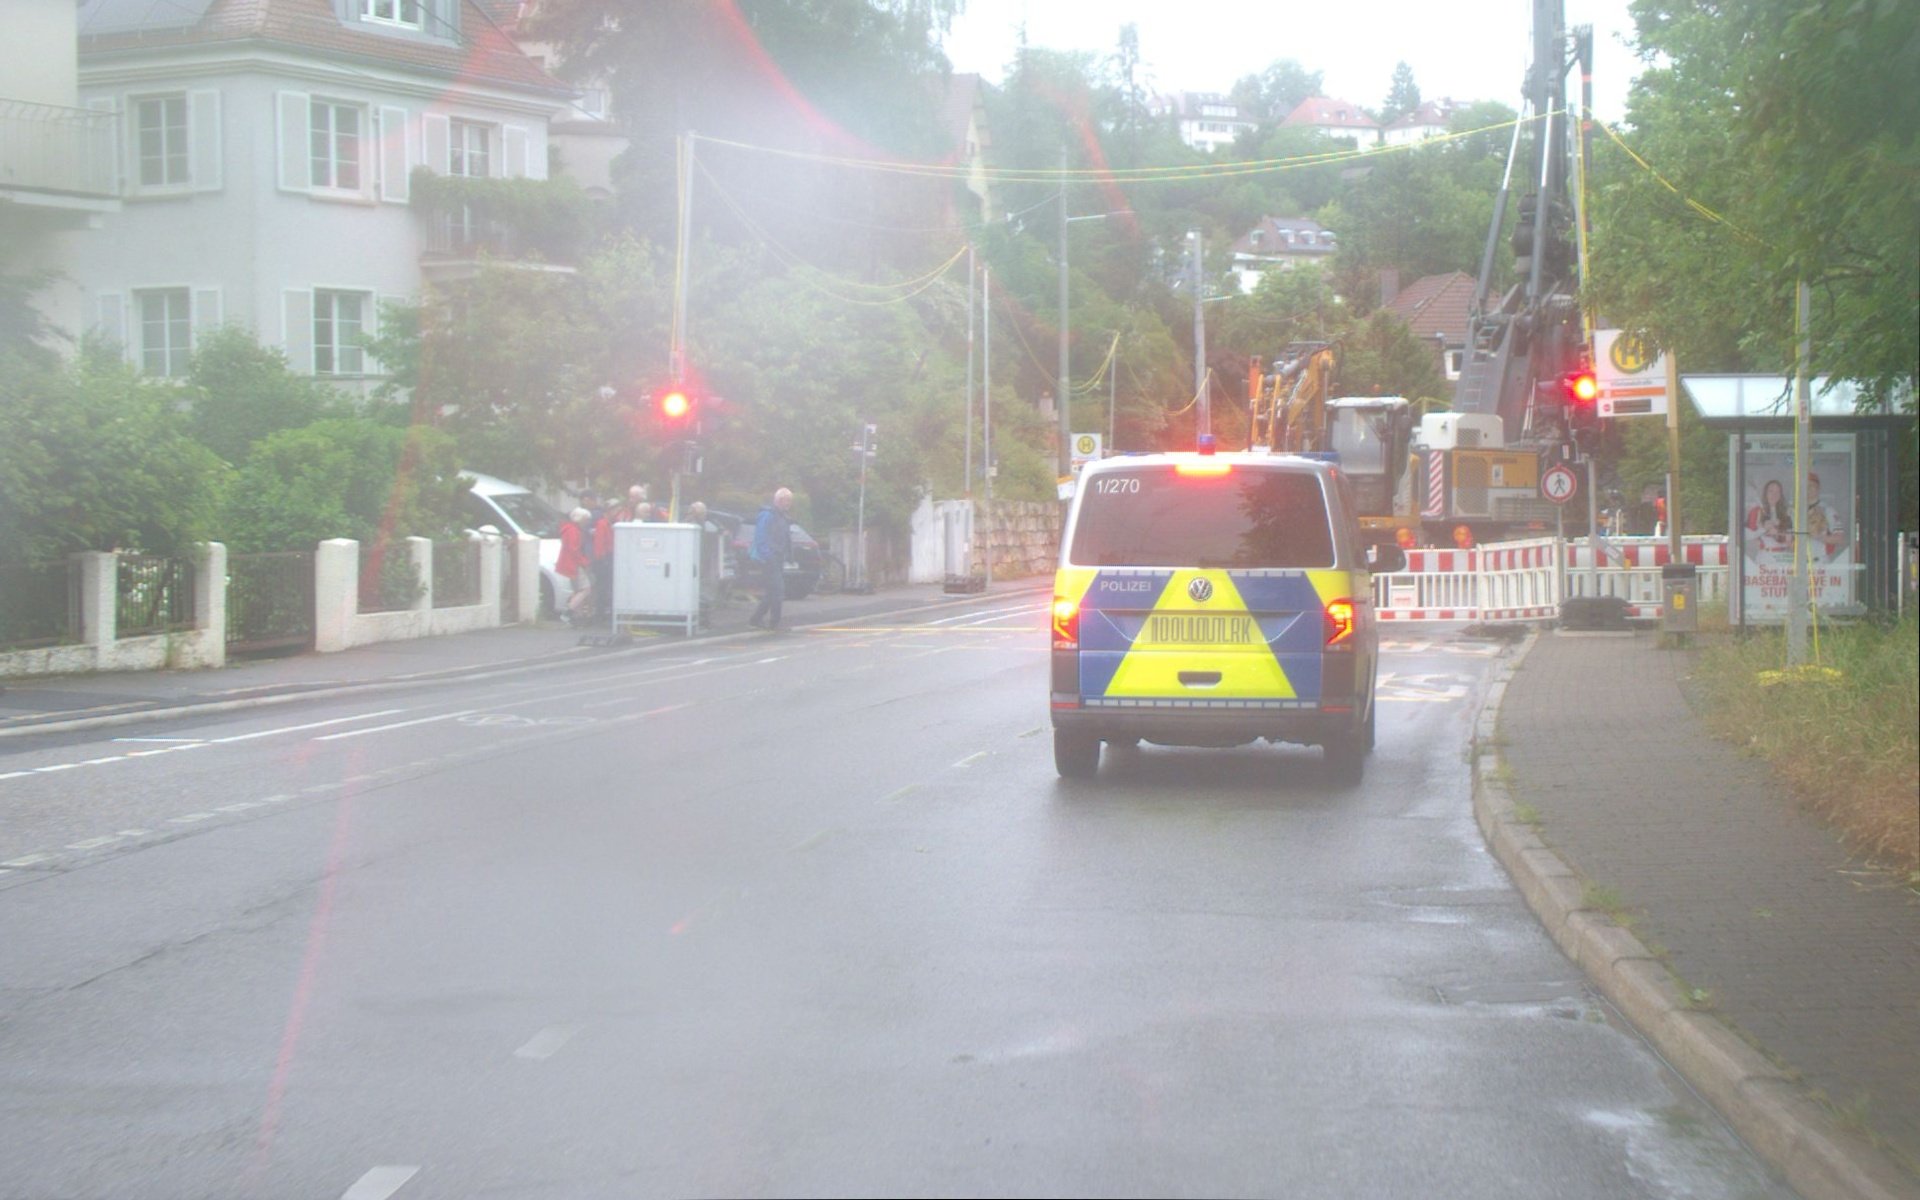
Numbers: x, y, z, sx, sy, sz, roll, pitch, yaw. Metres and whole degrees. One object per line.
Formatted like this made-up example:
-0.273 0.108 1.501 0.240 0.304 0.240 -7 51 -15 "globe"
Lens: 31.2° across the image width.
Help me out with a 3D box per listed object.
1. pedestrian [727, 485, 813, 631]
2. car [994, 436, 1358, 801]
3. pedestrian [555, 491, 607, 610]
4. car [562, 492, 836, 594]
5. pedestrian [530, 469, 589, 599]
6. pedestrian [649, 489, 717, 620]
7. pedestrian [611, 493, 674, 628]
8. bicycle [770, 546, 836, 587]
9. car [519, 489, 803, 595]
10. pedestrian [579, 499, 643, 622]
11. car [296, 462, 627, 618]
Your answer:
-2.374 -0.521 43.057 0.890 1.781 0.828 2 -1 6 "pedestrian"
1.365 0.021 21.786 1.994 2.006 4.401 2 2 4 "car"
-4.868 -0.634 44.162 0.525 1.501 0.429 2 -1 9 "pedestrian"
-4.203 -0.915 55.488 3.990 1.481 1.758 2 -1 18 "car"
-4.959 -0.816 42.604 0.563 1.577 0.468 2 -1 9 "pedestrian"
-3.452 -0.562 42.874 0.686 1.598 0.605 2 -1 6 "pedestrian"
-4.099 -0.510 44.370 0.626 1.709 0.592 2 -1 9 "pedestrian"
-2.665 -0.569 58.253 1.054 0.660 0.320 2 -1 17 "bicycle"
-4.633 -0.900 53.377 3.990 1.481 1.758 2 -1 18 "car"
-4.396 -0.498 43.327 0.626 1.516 0.592 2 -1 9 "pedestrian"
-6.683 -0.818 46.133 3.991 2.007 1.828 1 1 19 "car"
